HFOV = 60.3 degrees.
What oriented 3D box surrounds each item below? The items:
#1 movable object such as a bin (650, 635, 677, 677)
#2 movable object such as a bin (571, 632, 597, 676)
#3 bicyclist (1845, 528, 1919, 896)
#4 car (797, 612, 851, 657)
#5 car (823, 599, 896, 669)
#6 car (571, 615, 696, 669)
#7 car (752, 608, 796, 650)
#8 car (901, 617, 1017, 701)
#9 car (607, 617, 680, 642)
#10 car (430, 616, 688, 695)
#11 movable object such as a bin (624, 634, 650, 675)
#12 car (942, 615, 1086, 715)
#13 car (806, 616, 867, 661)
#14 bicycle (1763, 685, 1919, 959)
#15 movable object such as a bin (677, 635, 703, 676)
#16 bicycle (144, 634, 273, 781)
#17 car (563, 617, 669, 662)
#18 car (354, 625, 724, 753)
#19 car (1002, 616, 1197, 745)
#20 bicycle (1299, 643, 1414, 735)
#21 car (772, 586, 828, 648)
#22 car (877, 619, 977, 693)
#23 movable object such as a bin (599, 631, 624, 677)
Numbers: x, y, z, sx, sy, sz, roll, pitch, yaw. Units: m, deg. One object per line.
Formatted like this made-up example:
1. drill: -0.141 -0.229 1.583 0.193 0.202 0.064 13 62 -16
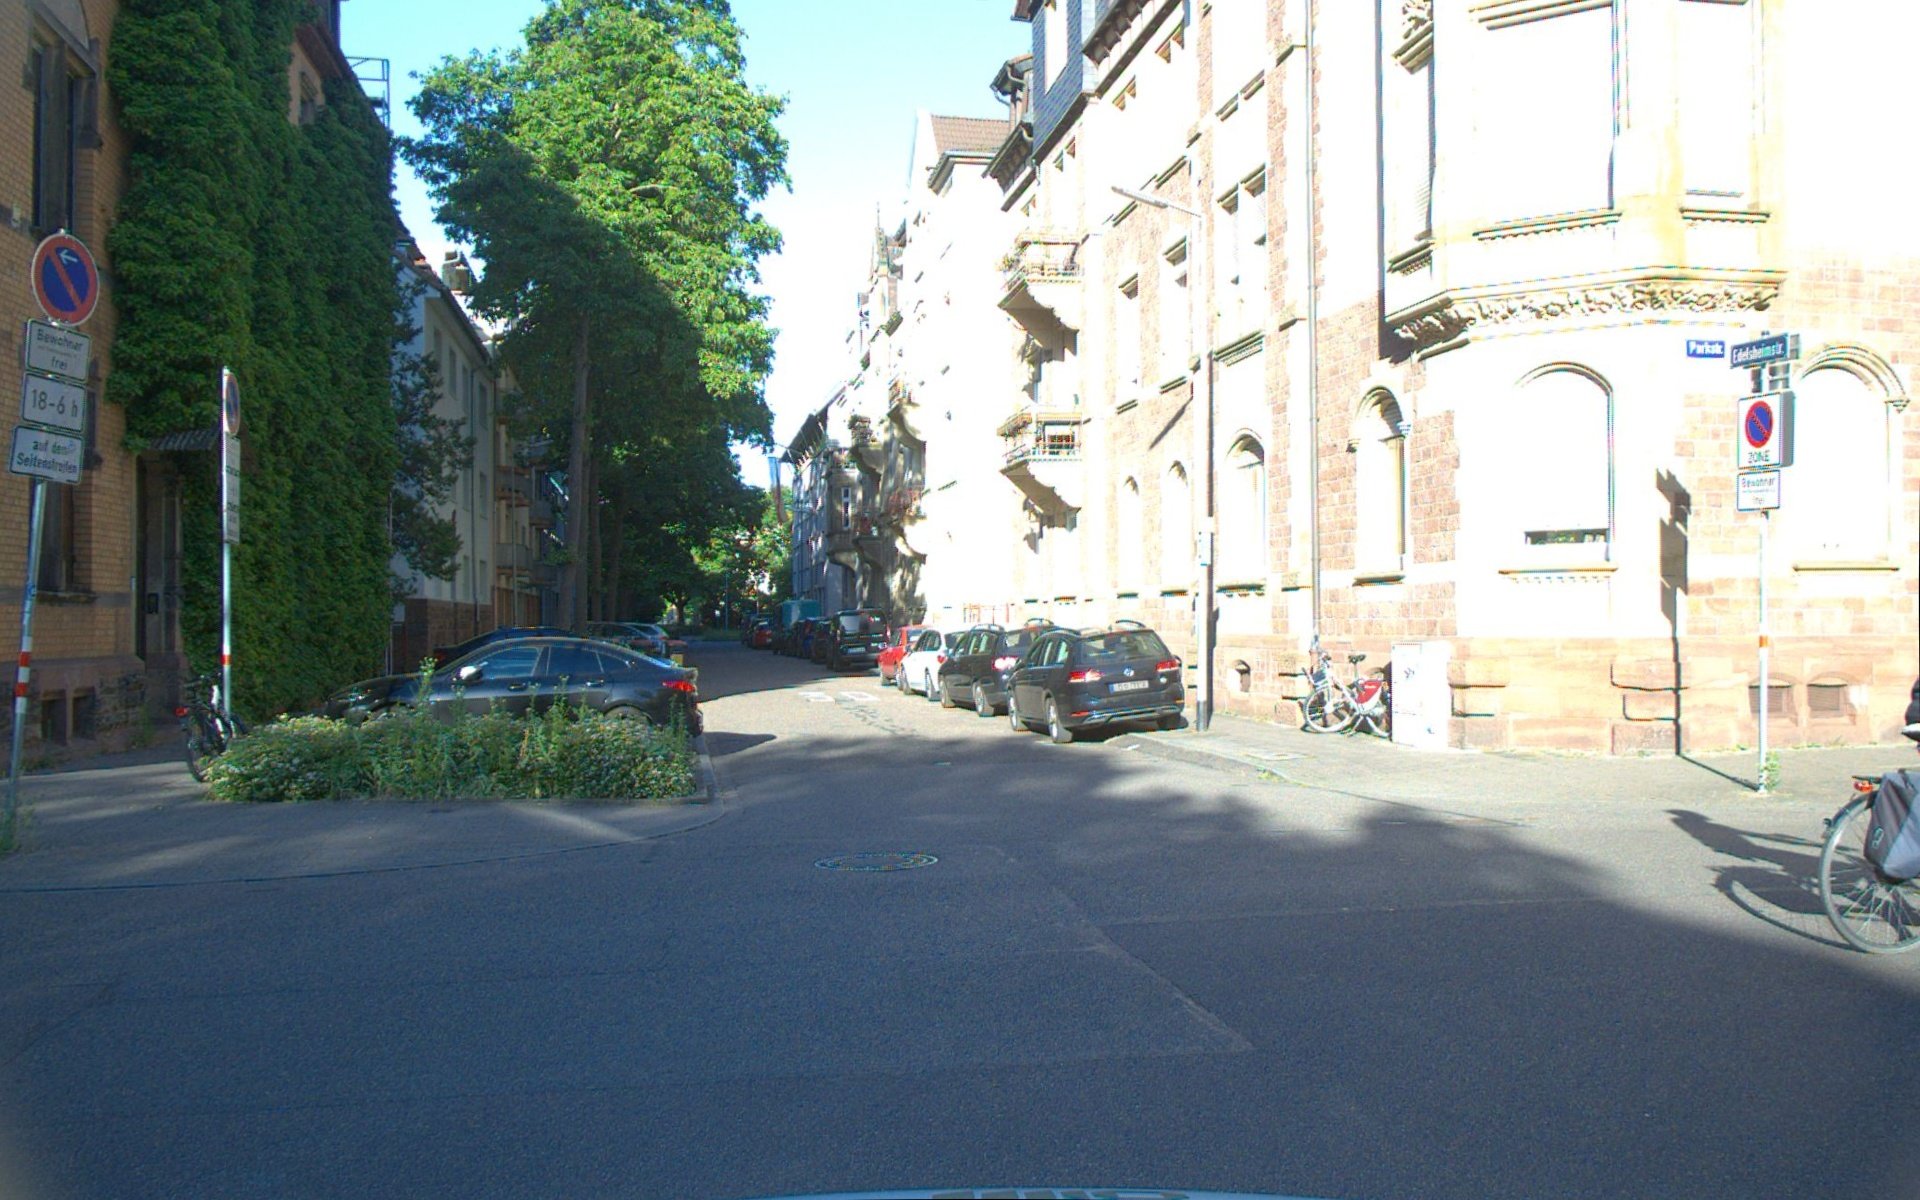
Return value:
1. movable object such as a bin: -7.831 1.476 43.691 0.619 1.071 0.566 1 -1 -16
2. movable object such as a bin: -9.810 1.409 43.110 0.623 1.146 0.484 1 -1 -16
3. bicyclist: 4.512 0.480 7.183 0.950 1.553 0.708 1 -1 -4
4. car: -5.445 1.358 66.023 1.770 1.708 3.990 1 -1 -10
5. car: -3.146 1.041 51.058 1.770 2.039 3.990 1 -1 -10
6. car: -10.183 1.309 51.555 3.737 1.603 1.704 1 -1 -14
7. car: -10.469 1.638 92.719 2.127 2.276 4.778 1 -1 -10
8. car: -0.079 1.171 33.959 1.706 1.609 3.990 1 -1 -10
9. car: -16.640 1.555 86.896 3.735 1.262 1.705 1 -1 -13
10. car: -7.753 1.084 32.287 4.750 1.460 1.705 1 -1 -12
11. movable object such as a bin: -8.491 1.436 43.467 0.619 1.071 0.566 1 -1 -16
12. car: 0.866 1.090 28.870 1.706 1.609 3.990 1 -1 -10
13. car: -4.436 1.356 59.160 1.770 1.541 3.990 1 -1 -10
14. bicycle: 4.588 0.935 7.141 1.923 1.092 0.698 1 -1 -3
15. movable object such as a bin: -7.155 1.473 43.847 0.619 1.071 0.566 1 -1 -16
16. bicycle: -7.100 0.985 15.699 0.552 1.290 1.602 -1 0 -3
17. car: -12.697 1.459 61.100 3.735 1.603 1.705 1 -1 -13
18. car: -5.070 1.069 20.308 4.169 1.460 1.994 1 -1 -12
19. car: 1.816 1.045 22.831 1.706 1.609 3.990 1 -1 -10
20. bicycle: 4.666 1.033 19.542 0.507 1.015 1.565 1 -1 -22
21. car: -7.385 0.780 75.983 2.127 2.738 4.778 1 -1 -10
22. car: -0.826 1.265 38.566 1.706 1.609 3.990 1 -1 -10
23. movable object such as a bin: -9.129 1.416 43.340 0.588 1.173 0.484 1 -1 -16
